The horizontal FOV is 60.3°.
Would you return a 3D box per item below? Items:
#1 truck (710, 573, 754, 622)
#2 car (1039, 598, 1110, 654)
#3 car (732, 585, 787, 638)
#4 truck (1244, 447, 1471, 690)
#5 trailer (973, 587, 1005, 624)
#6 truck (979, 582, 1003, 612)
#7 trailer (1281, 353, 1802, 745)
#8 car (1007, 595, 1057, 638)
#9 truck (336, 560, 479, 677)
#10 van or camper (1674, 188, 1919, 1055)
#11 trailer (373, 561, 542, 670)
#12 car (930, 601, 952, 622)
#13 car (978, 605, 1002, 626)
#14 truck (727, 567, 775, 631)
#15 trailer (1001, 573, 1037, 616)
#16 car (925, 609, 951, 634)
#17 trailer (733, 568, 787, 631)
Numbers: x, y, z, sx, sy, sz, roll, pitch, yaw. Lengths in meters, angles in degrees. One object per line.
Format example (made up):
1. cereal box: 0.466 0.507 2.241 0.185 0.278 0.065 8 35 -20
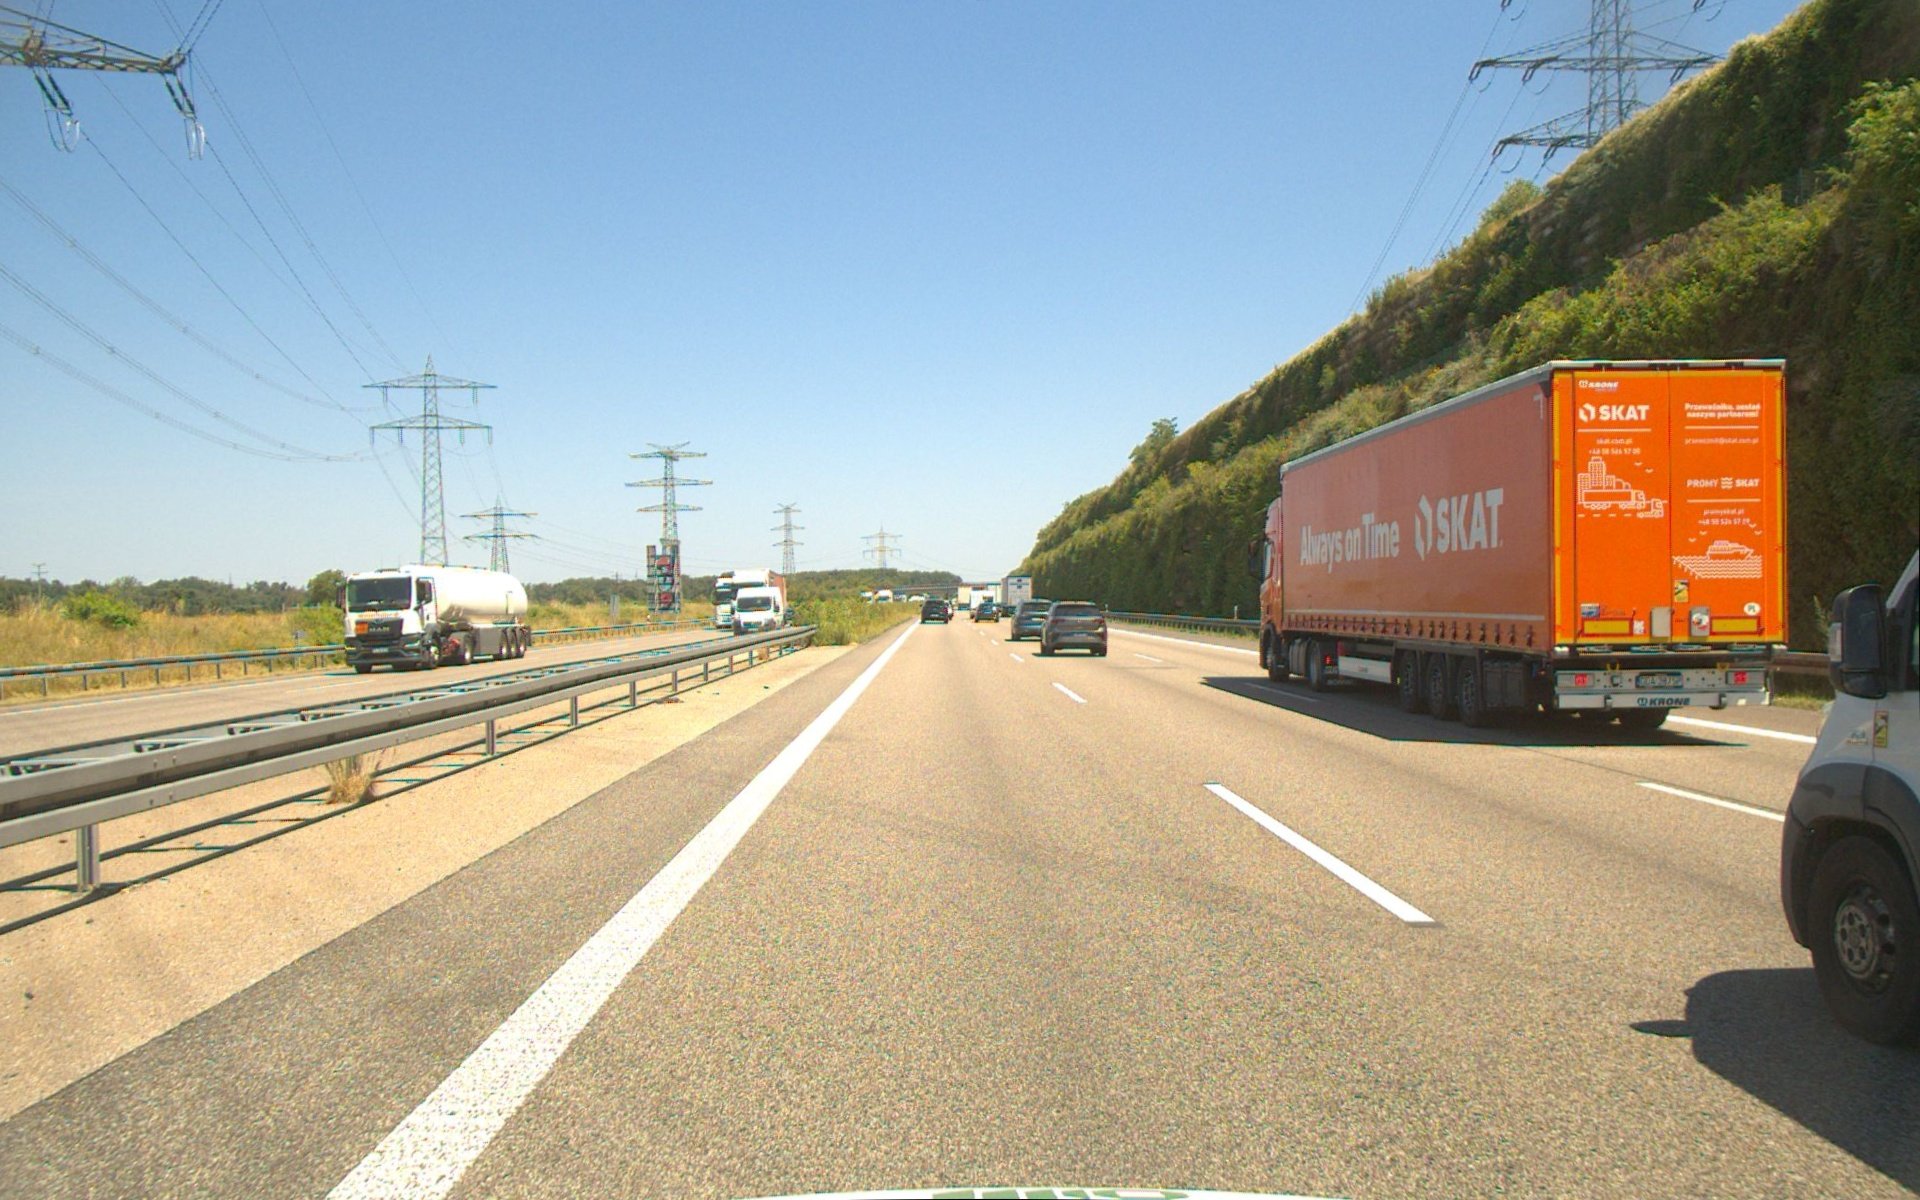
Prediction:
1. truck: -18.674 -0.204 135.983 2.778 3.816 6.847 -2 0 -2
2. car: 3.315 0.745 48.507 1.714 1.552 3.994 -1 0 -1
3. car: -10.004 0.566 82.833 1.953 2.479 6.029 -2 0 0
4. truck: 7.257 -0.528 31.115 2.564 4.062 6.525 -1 0 -1
5. trailer: 2.635 0.519 153.899 2.558 3.269 9.950 -1 0 -1
6. truck: 4.516 -0.415 242.749 3.055 4.355 11.932 -1 0 0
7. trailer: 7.377 -0.535 24.019 2.591 4.075 13.603 0 0 -1
8. car: 2.887 0.641 66.992 1.757 1.682 4.137 -1 0 -1
9. truck: -17.487 0.548 52.778 2.432 3.437 6.210 -2 0 -1
10. van or camper: 4.183 0.067 3.757 2.054 2.817 6.755 0 0 -1
11. trailer: -17.505 0.489 58.572 2.367 3.431 11.562 -2 0 0
12. car: -1.594 0.992 140.900 1.793 1.700 3.999 -2 0 -1
13. car: 2.288 1.205 127.484 1.792 1.552 4.000 -2 0 0
14. truck: -14.617 -0.071 115.996 2.547 4.285 5.908 -2 0 0
15. trailer: 6.118 -0.547 173.388 3.118 4.193 13.429 -1 0 0
16. car: -1.612 1.522 119.264 1.793 1.700 3.999 -2 0 -1
17. trailer: -14.732 -0.056 122.581 2.539 4.312 14.324 -2 0 -2
